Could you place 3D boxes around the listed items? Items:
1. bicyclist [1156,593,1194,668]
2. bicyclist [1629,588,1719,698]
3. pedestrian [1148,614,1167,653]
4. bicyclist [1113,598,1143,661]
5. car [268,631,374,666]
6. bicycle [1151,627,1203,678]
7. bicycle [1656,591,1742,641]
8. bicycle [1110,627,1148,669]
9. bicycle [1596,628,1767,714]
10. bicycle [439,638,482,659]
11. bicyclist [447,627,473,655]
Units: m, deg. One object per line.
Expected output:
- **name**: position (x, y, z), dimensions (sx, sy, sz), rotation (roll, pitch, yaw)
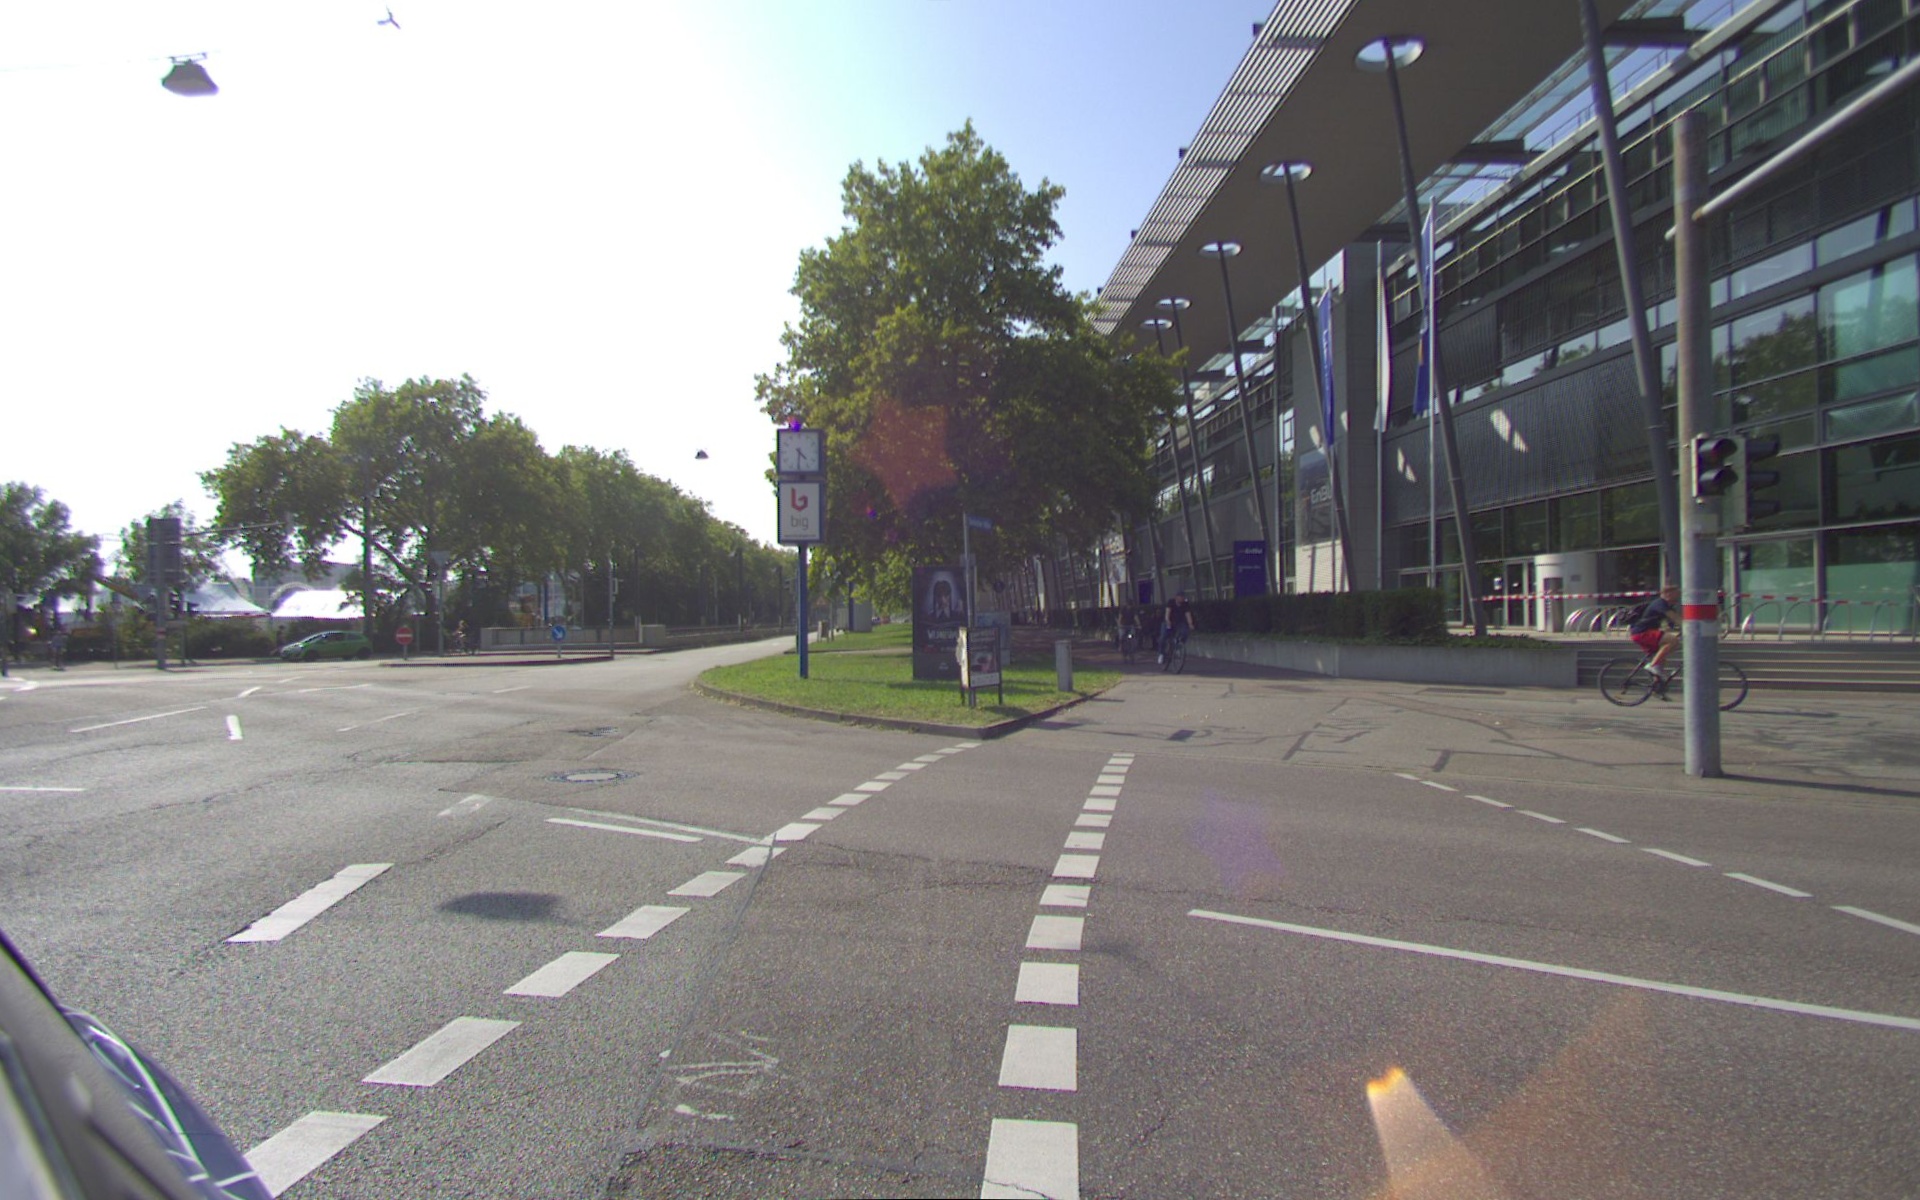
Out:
- **bicyclist**: position (4.968, 0.693, 23.420), dimensions (0.659, 1.701, 0.810), rotation (-1, -1, -2)
- **bicyclist**: position (10.327, 0.603, 14.648), dimensions (0.645, 1.529, 0.888), rotation (0, -1, -37)
- **pedestrian**: position (6.994, 1.191, 35.878), dimensions (0.481, 1.375, 0.539), rotation (0, 0, -8)
- **bicyclist**: position (4.622, 0.818, 27.885), dimensions (0.624, 1.701, 0.810), rotation (0, -1, -4)
- **car**: position (-31.374, 2.355, 49.765), dimensions (1.994, 1.564, 3.955), rotation (-2, -1, 33)
- **bicycle**: position (4.980, 1.190, 23.352), dimensions (0.676, 1.099, 1.898), rotation (-1, -1, -3)
- **bicycle**: position (16.861, 0.364, 23.087), dimensions (1.836, 1.102, 0.528), rotation (0, 0, -14)
- **bicycle**: position (4.633, 1.300, 27.857), dimensions (0.635, 1.103, 1.652), rotation (0, -1, -5)
- **bicycle**: position (10.354, 0.989, 14.597), dimensions (0.647, 1.119, 1.892), rotation (0, 0, -37)
- **bicycle**: position (-21.472, 2.087, 43.518), dimensions (1.719, 0.871, 0.528), rotation (-1, -1, 12)
- **bicyclist**: position (-21.503, 1.759, 43.530), dimensions (0.899, 1.149, 0.519), rotation (-1, -1, 12)
